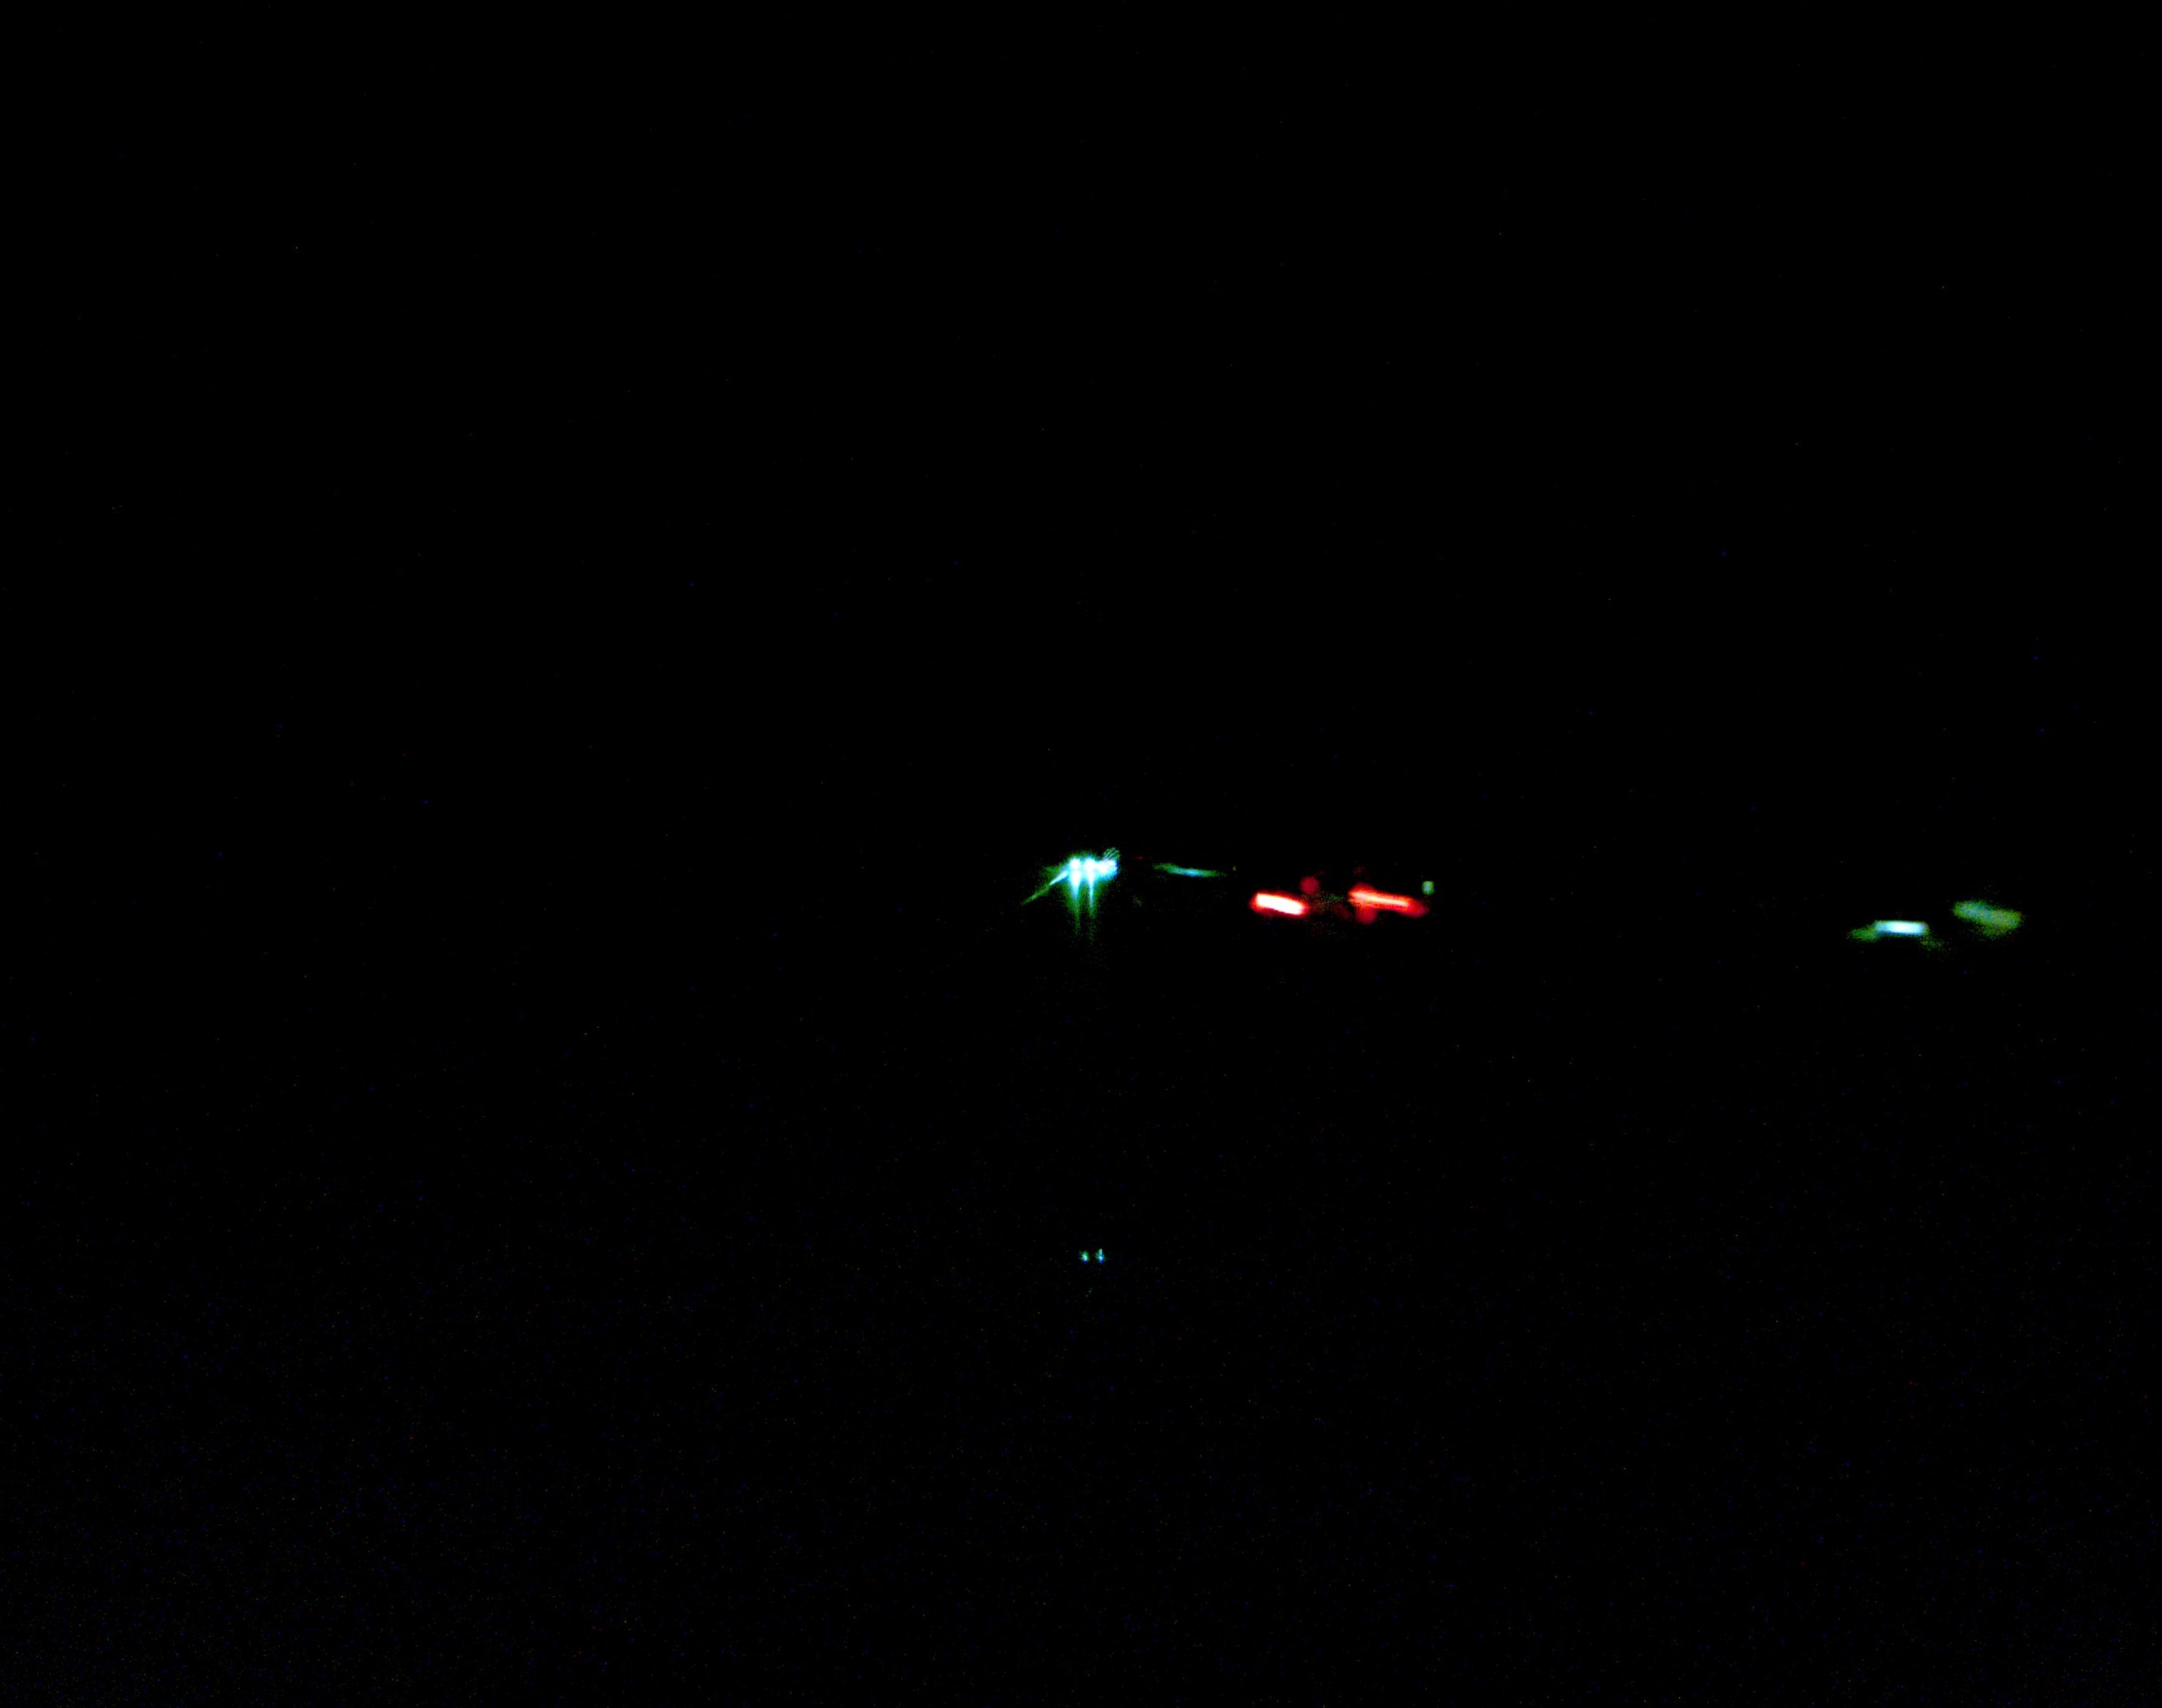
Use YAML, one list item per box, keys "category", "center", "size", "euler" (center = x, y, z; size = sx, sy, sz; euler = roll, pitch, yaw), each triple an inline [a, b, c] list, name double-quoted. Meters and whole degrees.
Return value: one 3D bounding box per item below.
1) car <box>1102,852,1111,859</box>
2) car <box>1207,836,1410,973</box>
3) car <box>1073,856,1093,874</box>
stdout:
- category: "car"
  center: [6.404, 0.460, 188.754]
  size: [2.103, 1.630, 4.455]
  euler: [2, 0, 1]
- category: "car"
  center: [3.436, 0.671, 12.496]
  size: [1.998, 1.814, 4.563]
  euler: [-1, 0, 1]
- category: "car"
  center: [0.282, 1.186, 83.817]
  size: [1.998, 1.724, 4.000]
  euler: [3, 0, 1]
